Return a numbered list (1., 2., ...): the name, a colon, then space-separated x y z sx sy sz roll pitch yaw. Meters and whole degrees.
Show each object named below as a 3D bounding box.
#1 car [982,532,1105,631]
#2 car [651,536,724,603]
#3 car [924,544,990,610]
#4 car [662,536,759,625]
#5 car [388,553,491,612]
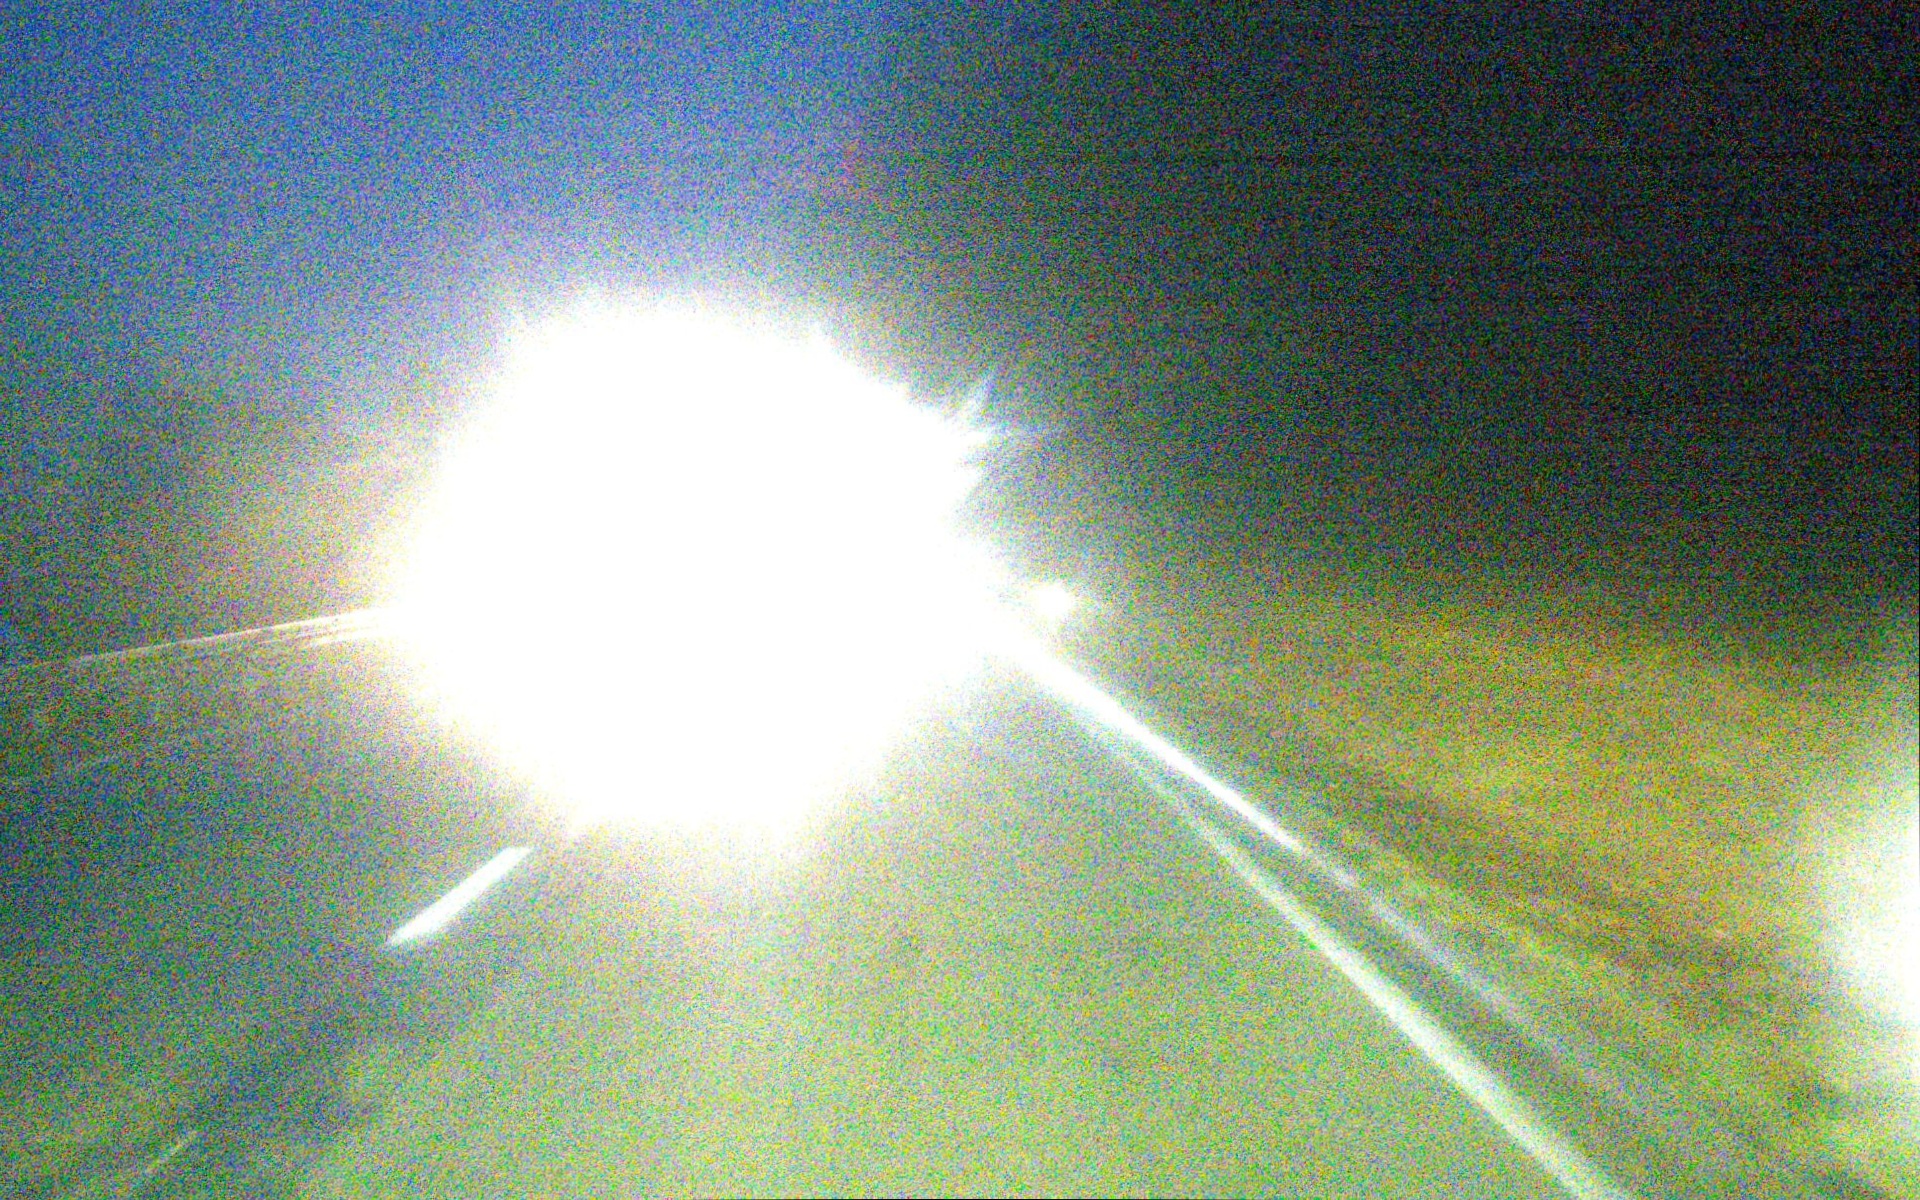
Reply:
1. car: 1.392 -0.343 58.240 1.993 1.612 4.000 0 1 1
2. car: -8.565 -0.973 108.203 1.993 2.007 4.000 1 1 -1
3. car: -0.101 -0.737 108.390 1.993 2.007 4.000 1 1 -1
4. car: -5.829 -0.477 80.647 1.993 2.007 4.000 1 1 -1
5. car: -13.513 -0.474 89.408 1.993 1.443 4.430 1 1 0
